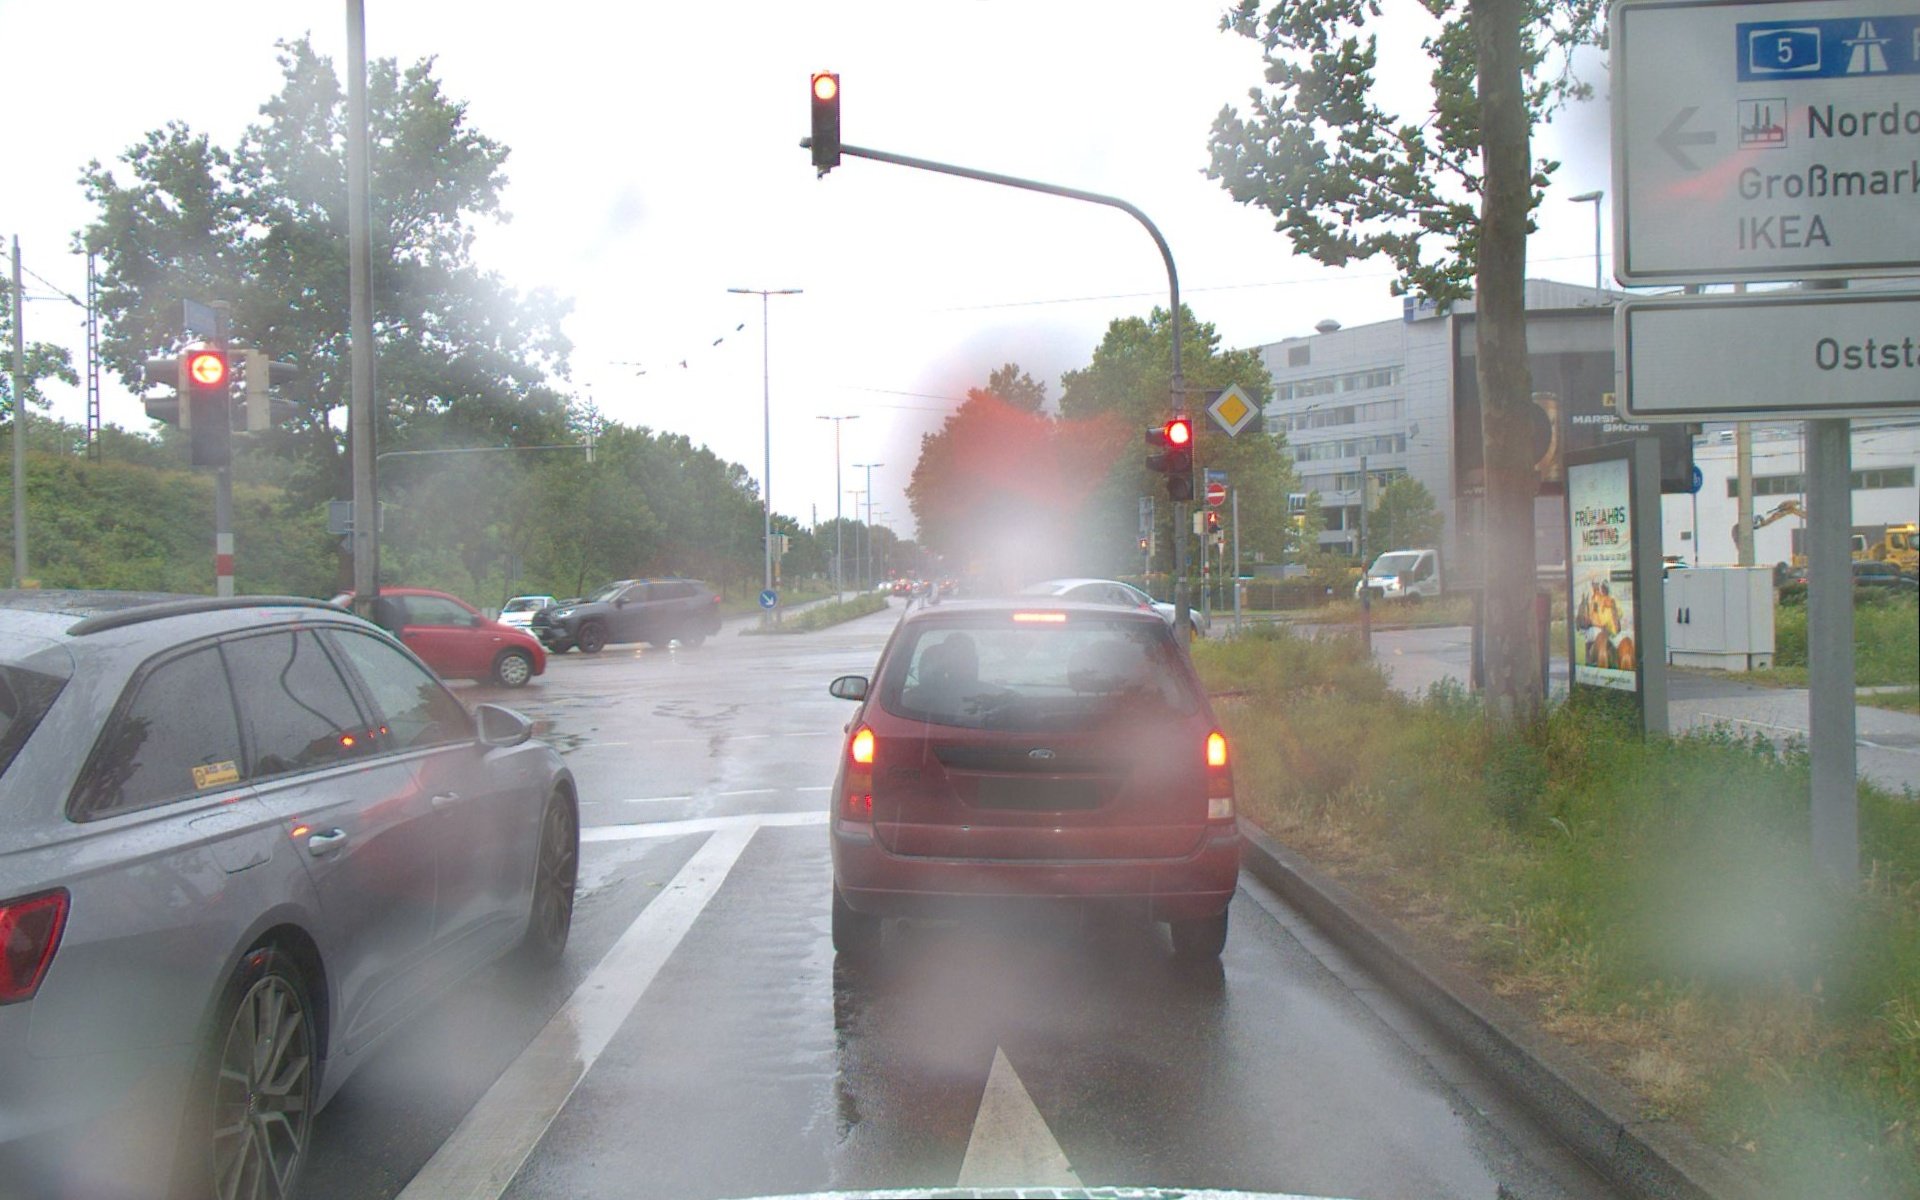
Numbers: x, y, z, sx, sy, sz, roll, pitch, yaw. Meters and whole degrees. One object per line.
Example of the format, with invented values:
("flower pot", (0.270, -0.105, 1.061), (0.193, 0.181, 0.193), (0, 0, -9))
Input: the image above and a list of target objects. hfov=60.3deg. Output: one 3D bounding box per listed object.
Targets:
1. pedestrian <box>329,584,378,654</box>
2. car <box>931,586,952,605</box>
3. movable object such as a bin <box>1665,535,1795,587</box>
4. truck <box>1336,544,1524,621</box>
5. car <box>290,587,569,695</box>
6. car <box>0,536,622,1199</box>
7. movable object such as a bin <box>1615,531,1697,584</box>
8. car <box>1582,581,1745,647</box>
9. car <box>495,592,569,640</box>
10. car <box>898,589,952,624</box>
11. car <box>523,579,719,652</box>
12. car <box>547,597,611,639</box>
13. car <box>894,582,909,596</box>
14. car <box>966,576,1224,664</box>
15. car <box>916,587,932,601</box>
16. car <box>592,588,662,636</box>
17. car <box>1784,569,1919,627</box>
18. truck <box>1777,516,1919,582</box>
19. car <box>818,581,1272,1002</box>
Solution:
("pedestrian", (-16.658, 0.507, 45.432), (1.083, 1.879, 1.127), (-1, 0, -13))
("car", (-1.516, -0.367, 138.719), (1.636, 1.554, 3.846), (-1, 0, 1))
("movable object such as a bin", (48.337, -2.417, 103.976), (3.292, 3.048, 6.634), (-2, 0, -36))
("truck", (15.629, -0.595, 54.778), (6.796, 2.406, 2.449), (-1, 0, -38))
("car", (-7.998, 0.569, 25.004), (3.765, 1.517, 1.661), (0, 0, -31))
("car", (-2.301, 0.668, 4.867), (1.733, 1.601, 4.819), (1, 0, -2))
("movable object such as a bin", (41.640, -2.543, 98.985), (3.293, 3.048, 3.288), (-2, 0, -37))
("car", (18.493, 0.352, 43.413), (4.575, 1.614, 1.902), (-1, 0, -37))
("car", (-14.171, 0.492, 54.882), (1.605, 1.478, 3.785), (-2, 1, -3))
("car", (-1.926, 0.368, 89.597), (1.961, 1.822, 3.983), (1, 0, -16))
("car", (-7.946, 0.331, 38.919), (4.202, 1.586, 1.723), (-1, 0, -38))
("car", (-14.073, 0.633, 61.209), (1.558, 1.428, 3.822), (-2, 1, -2))
("car", (-7.106, -1.333, 201.741), (1.663, 1.554, 3.846), (-1, 0, 1))
("car", (2.620, 0.353, 31.636), (4.768, 1.517, 1.906), (-1, 0, -33))
("car", (-4.167, -0.709, 191.789), (1.663, 1.554, 3.846), (-1, 0, 0))
("car", (-11.236, 0.368, 55.971), (1.605, 1.499, 3.964), (-2, 1, -1))
("car", (26.199, -0.078, 48.467), (4.578, 1.614, 1.901), (-1, 0, -38))
("truck", (52.791, -2.943, 97.365), (3.292, 3.568, 7.789), (-2, 0, -36))
("car", (0.253, 0.673, 7.797), (1.609, 1.490, 3.731), (1, 0, -2))
